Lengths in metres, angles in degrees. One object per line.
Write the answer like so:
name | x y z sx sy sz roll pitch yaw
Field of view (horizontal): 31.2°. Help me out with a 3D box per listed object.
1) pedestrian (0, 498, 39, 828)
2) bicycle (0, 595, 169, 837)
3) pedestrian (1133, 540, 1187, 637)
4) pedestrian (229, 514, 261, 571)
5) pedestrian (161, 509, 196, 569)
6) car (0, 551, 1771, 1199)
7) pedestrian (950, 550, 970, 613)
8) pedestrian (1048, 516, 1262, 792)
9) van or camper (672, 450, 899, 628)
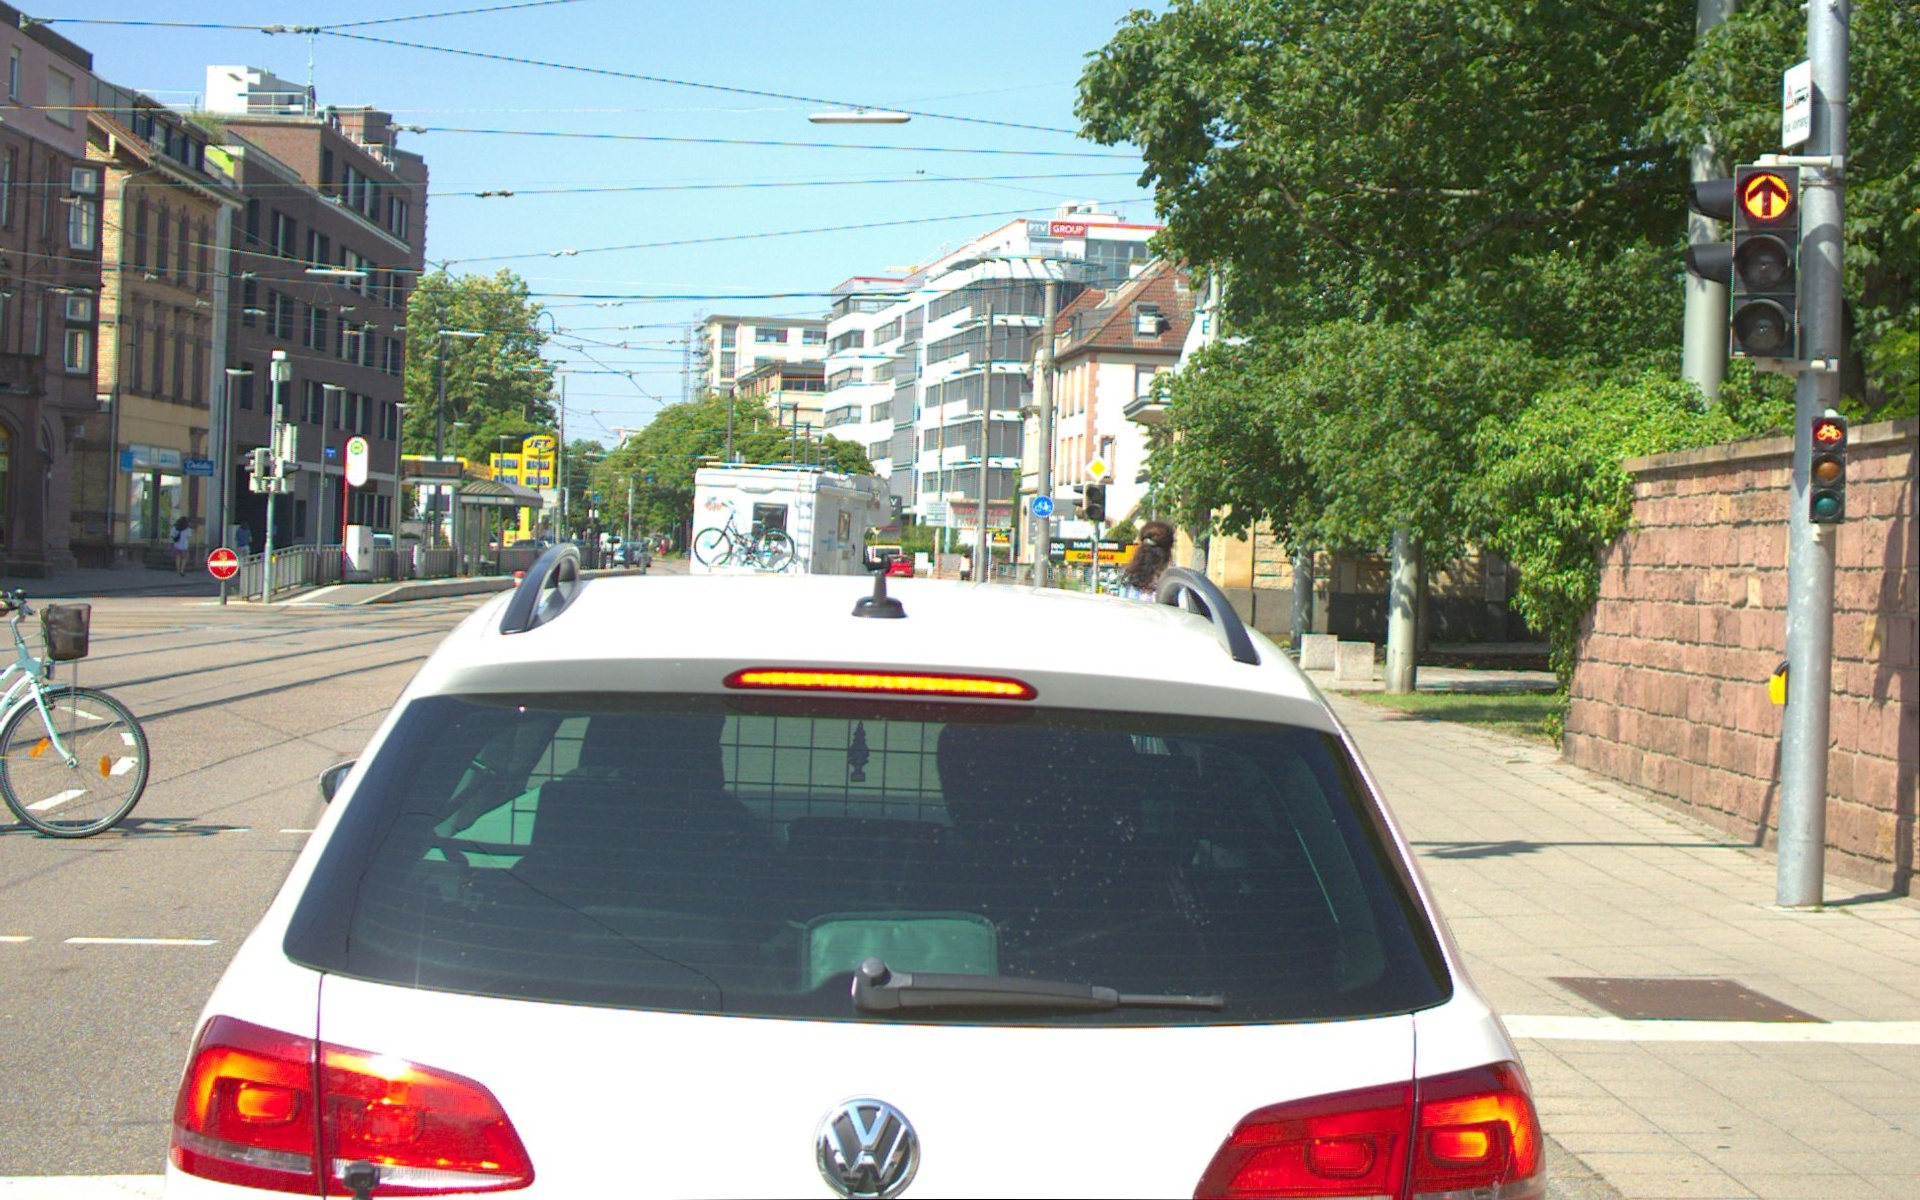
pedestrian | -4.852 0.290 16.623 0.745 1.566 0.675 0 2 -14
bicycle | -4.755 0.521 16.046 2.019 1.086 0.710 2 1 -15
pedestrian | 3.589 -0.206 61.696 0.862 1.737 0.974 0 0 9
pedestrian | -22.080 -1.778 106.185 0.861 1.737 0.975 0 0 -6
pedestrian | -22.756 -1.780 100.155 0.861 1.737 0.975 0 0 -6
car | -0.142 0.677 5.441 1.808 1.443 4.000 2 1 -1
pedestrian | 0.000 -0.691 129.059 0.690 2.317 1.232 0 0 1
pedestrian | 1.205 0.319 21.173 0.954 1.645 0.973 0 0 33
van or camper | -3.089 -1.057 62.508 2.568 3.082 5.699 0 0 14
